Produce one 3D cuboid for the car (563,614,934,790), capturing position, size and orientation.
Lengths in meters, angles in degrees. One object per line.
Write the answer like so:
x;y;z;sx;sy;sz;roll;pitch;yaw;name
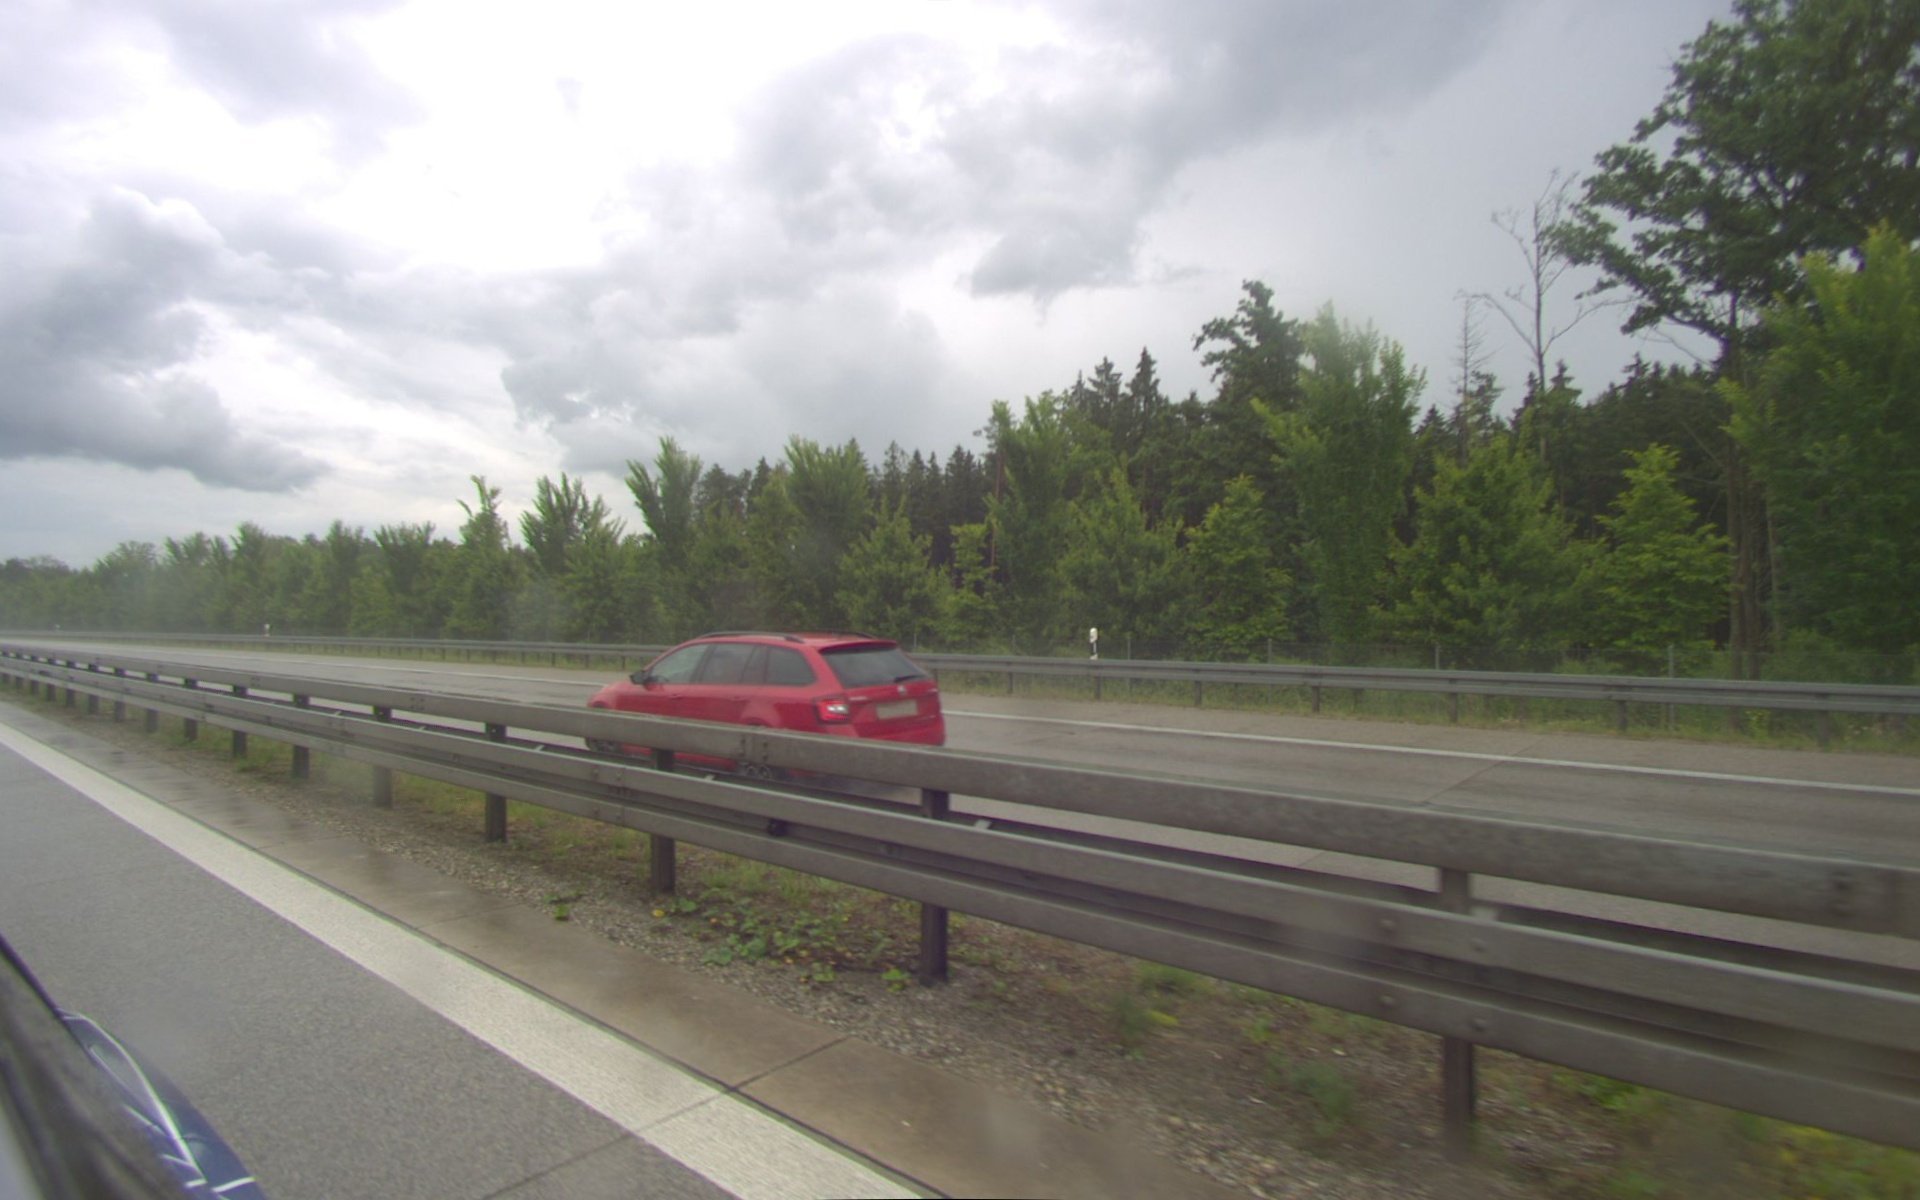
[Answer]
-2.276;0.968;10.423;3.843;1.475;1.746;-3;-4;40;car
